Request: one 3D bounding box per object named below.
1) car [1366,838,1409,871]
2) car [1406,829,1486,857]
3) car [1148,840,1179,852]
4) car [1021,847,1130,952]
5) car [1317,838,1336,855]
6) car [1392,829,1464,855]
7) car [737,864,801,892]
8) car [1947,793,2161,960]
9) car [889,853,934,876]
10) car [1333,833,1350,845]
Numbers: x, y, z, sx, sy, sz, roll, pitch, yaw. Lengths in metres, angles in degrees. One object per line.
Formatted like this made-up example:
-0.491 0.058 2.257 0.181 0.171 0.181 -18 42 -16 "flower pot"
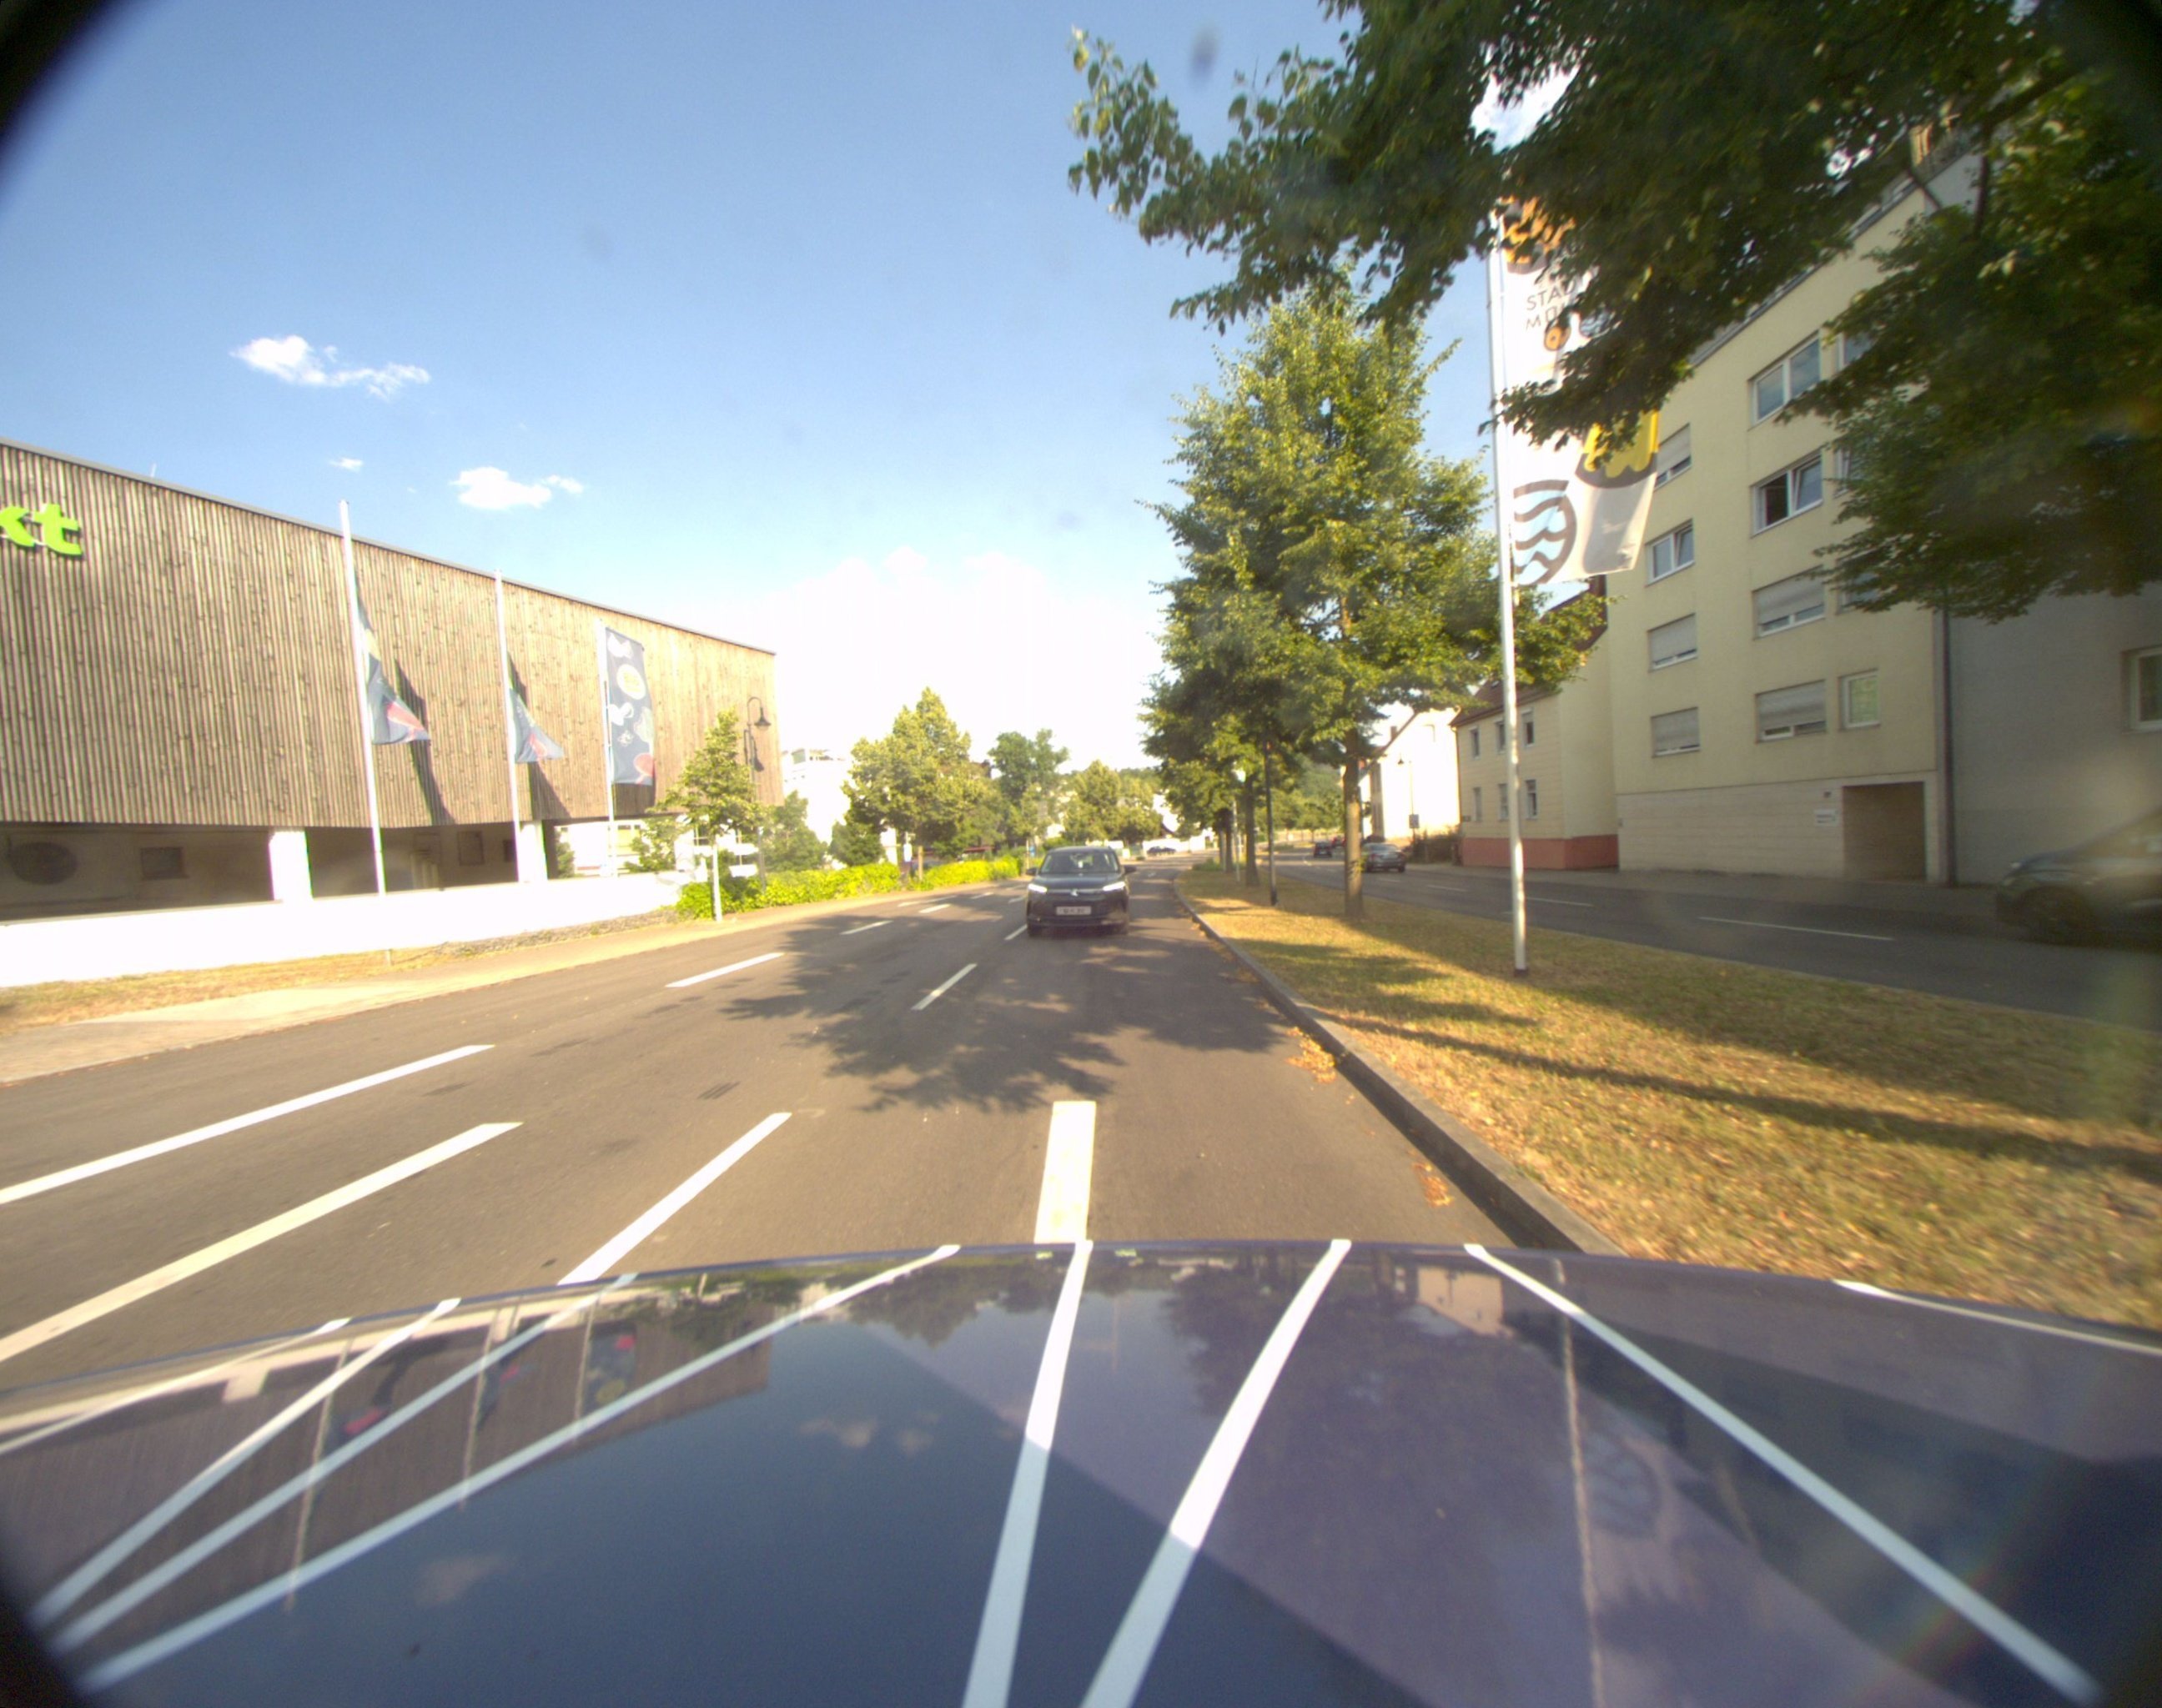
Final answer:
15.379 -0.020 38.102 1.854 1.477 5.003 -2 1 22 "car"
22.770 -0.689 47.426 4.350 1.477 1.949 -3 1 27 "car"
11.580 -1.123 106.956 3.830 1.412 1.940 -3 1 22 "car"
0.020 0.729 14.598 1.725 1.605 4.261 -2 1 3 "car"
22.579 -0.716 69.986 1.607 1.477 3.788 -2 1 18 "car"
23.785 -0.820 52.109 4.350 1.477 2.014 -3 1 26 "car"
-23.860 1.805 58.282 1.891 1.713 4.321 -6 -1 22 "car"
12.082 0.206 7.350 1.857 1.726 4.922 -2 1 1 "car"
-16.101 0.956 72.461 1.996 1.844 4.652 -3 1 17 "car"
34.846 -2.016 101.548 1.942 1.477 4.330 -2 1 21 "car"
